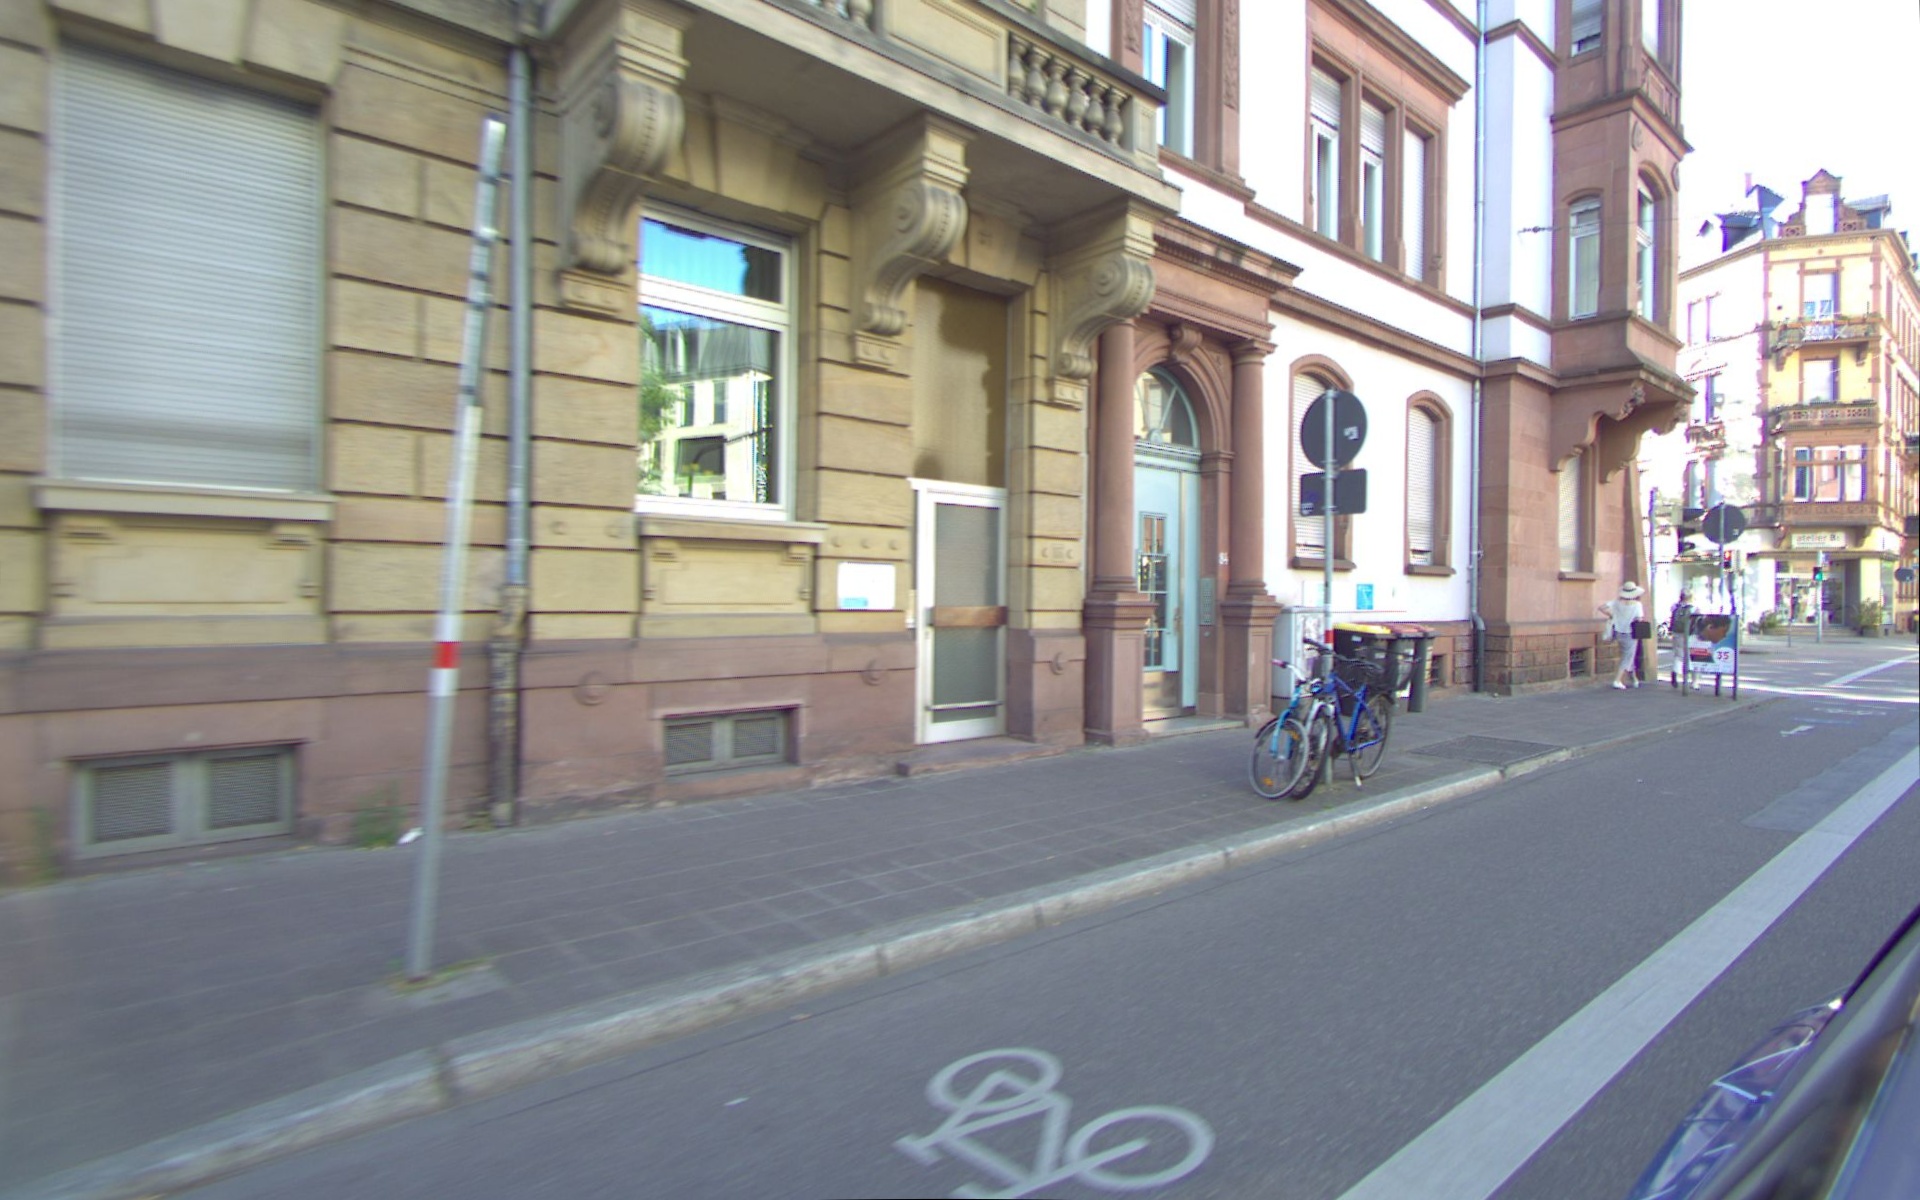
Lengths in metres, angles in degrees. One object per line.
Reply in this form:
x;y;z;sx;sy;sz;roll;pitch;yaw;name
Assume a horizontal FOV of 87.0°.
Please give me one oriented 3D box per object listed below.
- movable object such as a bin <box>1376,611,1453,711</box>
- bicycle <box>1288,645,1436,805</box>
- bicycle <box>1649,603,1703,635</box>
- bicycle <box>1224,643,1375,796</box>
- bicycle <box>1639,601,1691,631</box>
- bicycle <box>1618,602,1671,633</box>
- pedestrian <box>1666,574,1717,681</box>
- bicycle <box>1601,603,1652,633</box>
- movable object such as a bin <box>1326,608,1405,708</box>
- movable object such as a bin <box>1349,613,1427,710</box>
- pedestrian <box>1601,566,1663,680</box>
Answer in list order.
5.643;0.730;12.563;0.584;1.168;0.667;1;1;-42;movable object such as a bin
2.962;0.845;7.362;0.430;0.959;1.737;1;1;42;bicycle
28.407;0.749;40.162;2.076;1.157;0.619;-1;1;-19;bicycle
2.613;0.848;7.677;0.430;0.959;1.737;1;1;42;bicycle
28.300;0.634;40.620;2.075;1.157;0.619;-1;1;-19;bicycle
27.801;0.708;41.103;2.076;1.157;0.619;-2;1;-19;bicycle
12.137;0.439;16.796;0.625;1.722;0.672;1;0;40;pedestrian
27.529;0.725;41.806;2.076;1.157;0.619;-2;1;-19;bicycle
4.702;0.653;11.749;0.561;1.090;0.667;0;0;-42;movable object such as a bin
5.136;0.714;12.157;0.561;1.090;0.667;1;1;-42;movable object such as a bin
10.950;0.369;16.487;0.661;1.805;0.706;2;-2;-42;pedestrian
